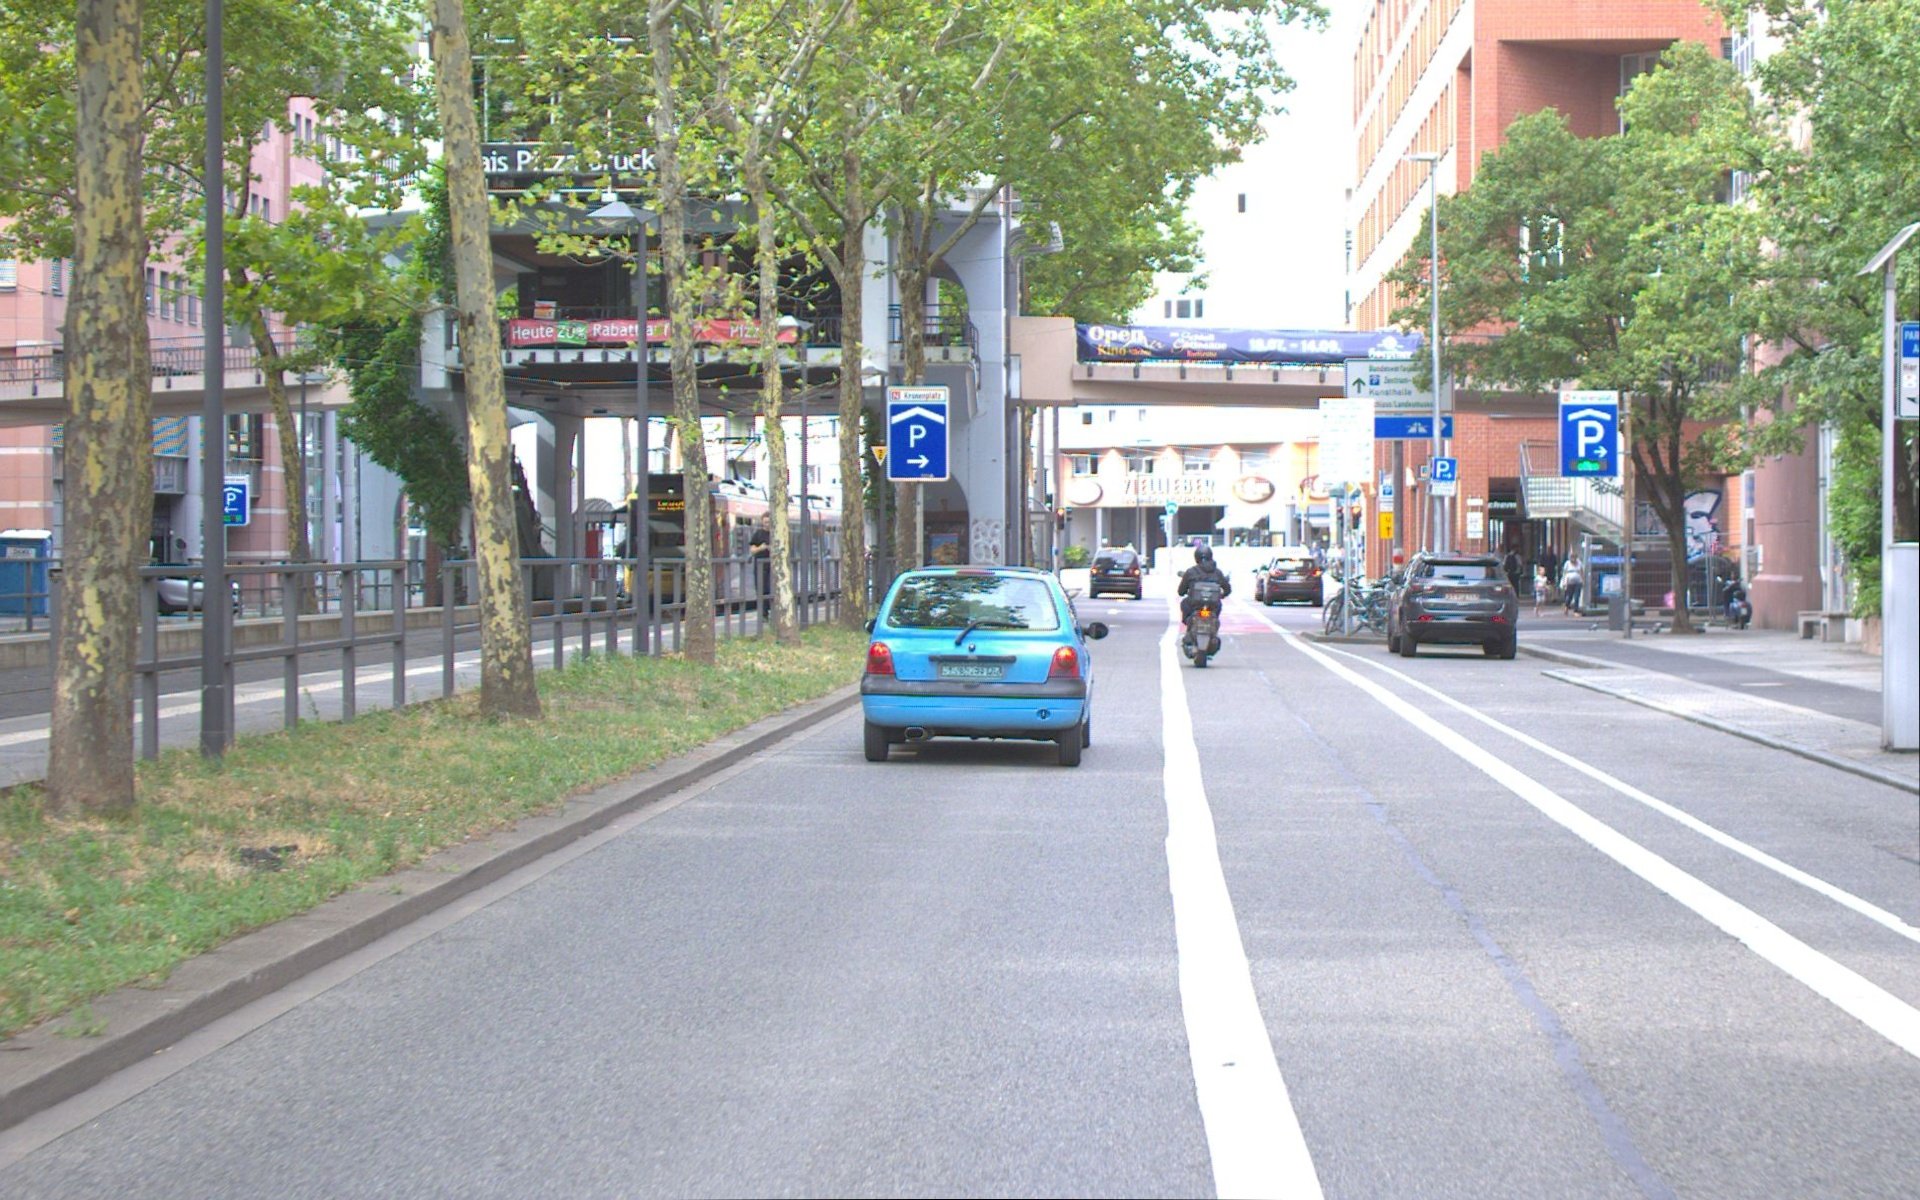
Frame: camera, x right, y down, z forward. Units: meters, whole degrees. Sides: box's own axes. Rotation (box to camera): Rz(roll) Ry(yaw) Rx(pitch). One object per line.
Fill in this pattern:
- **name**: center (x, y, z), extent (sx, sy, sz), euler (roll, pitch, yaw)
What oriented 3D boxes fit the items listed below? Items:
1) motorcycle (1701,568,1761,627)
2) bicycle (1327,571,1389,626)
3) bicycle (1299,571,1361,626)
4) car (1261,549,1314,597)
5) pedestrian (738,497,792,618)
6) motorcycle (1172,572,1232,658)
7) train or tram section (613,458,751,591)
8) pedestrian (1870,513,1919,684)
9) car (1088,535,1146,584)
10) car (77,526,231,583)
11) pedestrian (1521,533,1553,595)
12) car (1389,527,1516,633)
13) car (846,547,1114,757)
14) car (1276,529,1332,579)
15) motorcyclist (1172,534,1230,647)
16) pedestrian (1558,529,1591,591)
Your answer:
- **motorcycle**: center (15.622, -0.060, 69.688), extent (0.756, 1.133, 2.435), euler (0, 1, 2)
- **bicycle**: center (7.607, -0.032, 65.724), extent (0.563, 1.005, 2.010), euler (0, 1, -12)
- **bicycle**: center (7.021, -0.032, 65.315), extent (0.563, 1.005, 2.010), euler (0, 1, -12)
- **car**: center (11.138, -0.934, 117.052), extent (1.699, 1.596, 4.000), euler (0, 1, 4)
- **pedestrian**: center (-3.001, -0.656, 52.933), extent (0.728, 1.852, 0.870), euler (0, 1, 4)
- **motorcycle**: center (3.263, 0.187, 46.508), extent (0.767, 1.103, 2.208), euler (-1, 1, 3)
- **train or tram section**: center (-7.062, -1.920, 88.415), extent (2.389, 3.242, 8.817), euler (0, 1, 3)
- **pedestrian**: center (10.364, -0.025, 37.554), extent (0.646, 1.852, 0.783), euler (0, 1, 2)
- **car**: center (5.371, -1.387, 117.245), extent (1.887, 1.618, 4.000), euler (0, 1, 4)
- **car**: center (-23.055, -1.320, 98.470), extent (3.987, 1.618, 1.805), euler (0, 1, 0)
- **pedestrian**: center (14.507, -0.903, 86.516), extent (0.669, 1.556, 0.728), euler (0, 1, -1)
- **car**: center (7.721, -0.343, 54.174), extent (1.699, 1.596, 4.000), euler (0, 1, 4)
- **car**: center (0.220, 0.327, 25.617), extent (1.641, 1.381, 3.842), euler (1, 2, 6)
- **car**: center (11.105, -1.505, 111.127), extent (1.699, 1.596, 4.000), euler (0, 1, 4)
- **motorcyclist**: center (3.259, -0.137, 46.583), extent (0.759, 1.514, 1.017), euler (-1, 1, 3)
- **pedestrian**: center (15.392, -1.001, 86.144), extent (0.669, 1.556, 0.728), euler (0, 1, -1)
